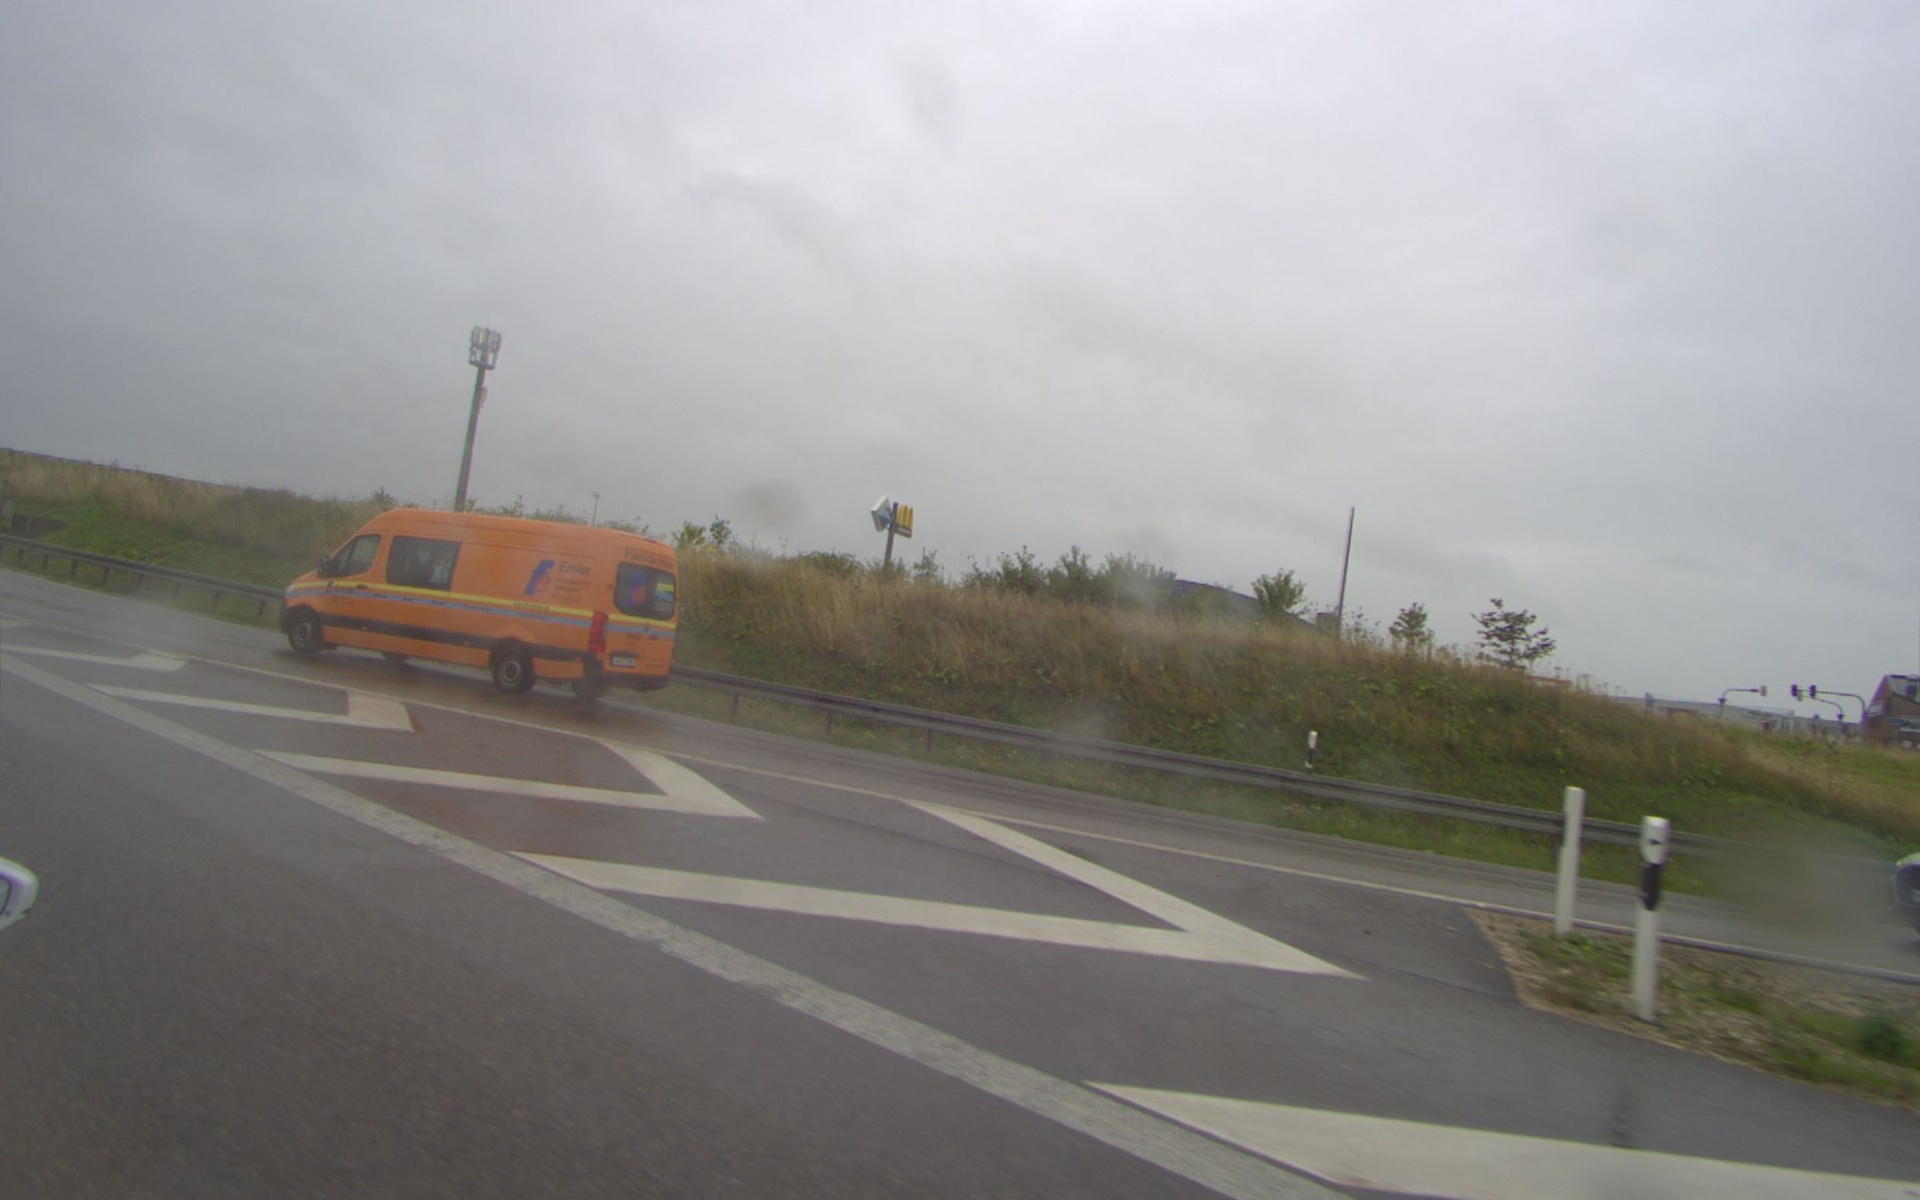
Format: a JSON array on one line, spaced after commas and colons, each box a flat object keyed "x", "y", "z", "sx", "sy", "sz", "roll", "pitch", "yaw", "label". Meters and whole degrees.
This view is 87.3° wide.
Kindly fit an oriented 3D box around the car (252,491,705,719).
[{"x": -7.798, "y": 0.066, "z": 16.282, "sx": 6.757, "sy": 2.643, "sz": 2.071, "roll": 8, "pitch": -3, "yaw": 18, "label": "car"}]

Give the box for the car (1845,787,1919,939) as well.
[{"x": 12.215, "y": 3.062, "z": 10.314, "sx": 4.393, "sy": 1.500, "sz": 1.920, "roll": 8, "pitch": -5, "yaw": 4, "label": "car"}]
